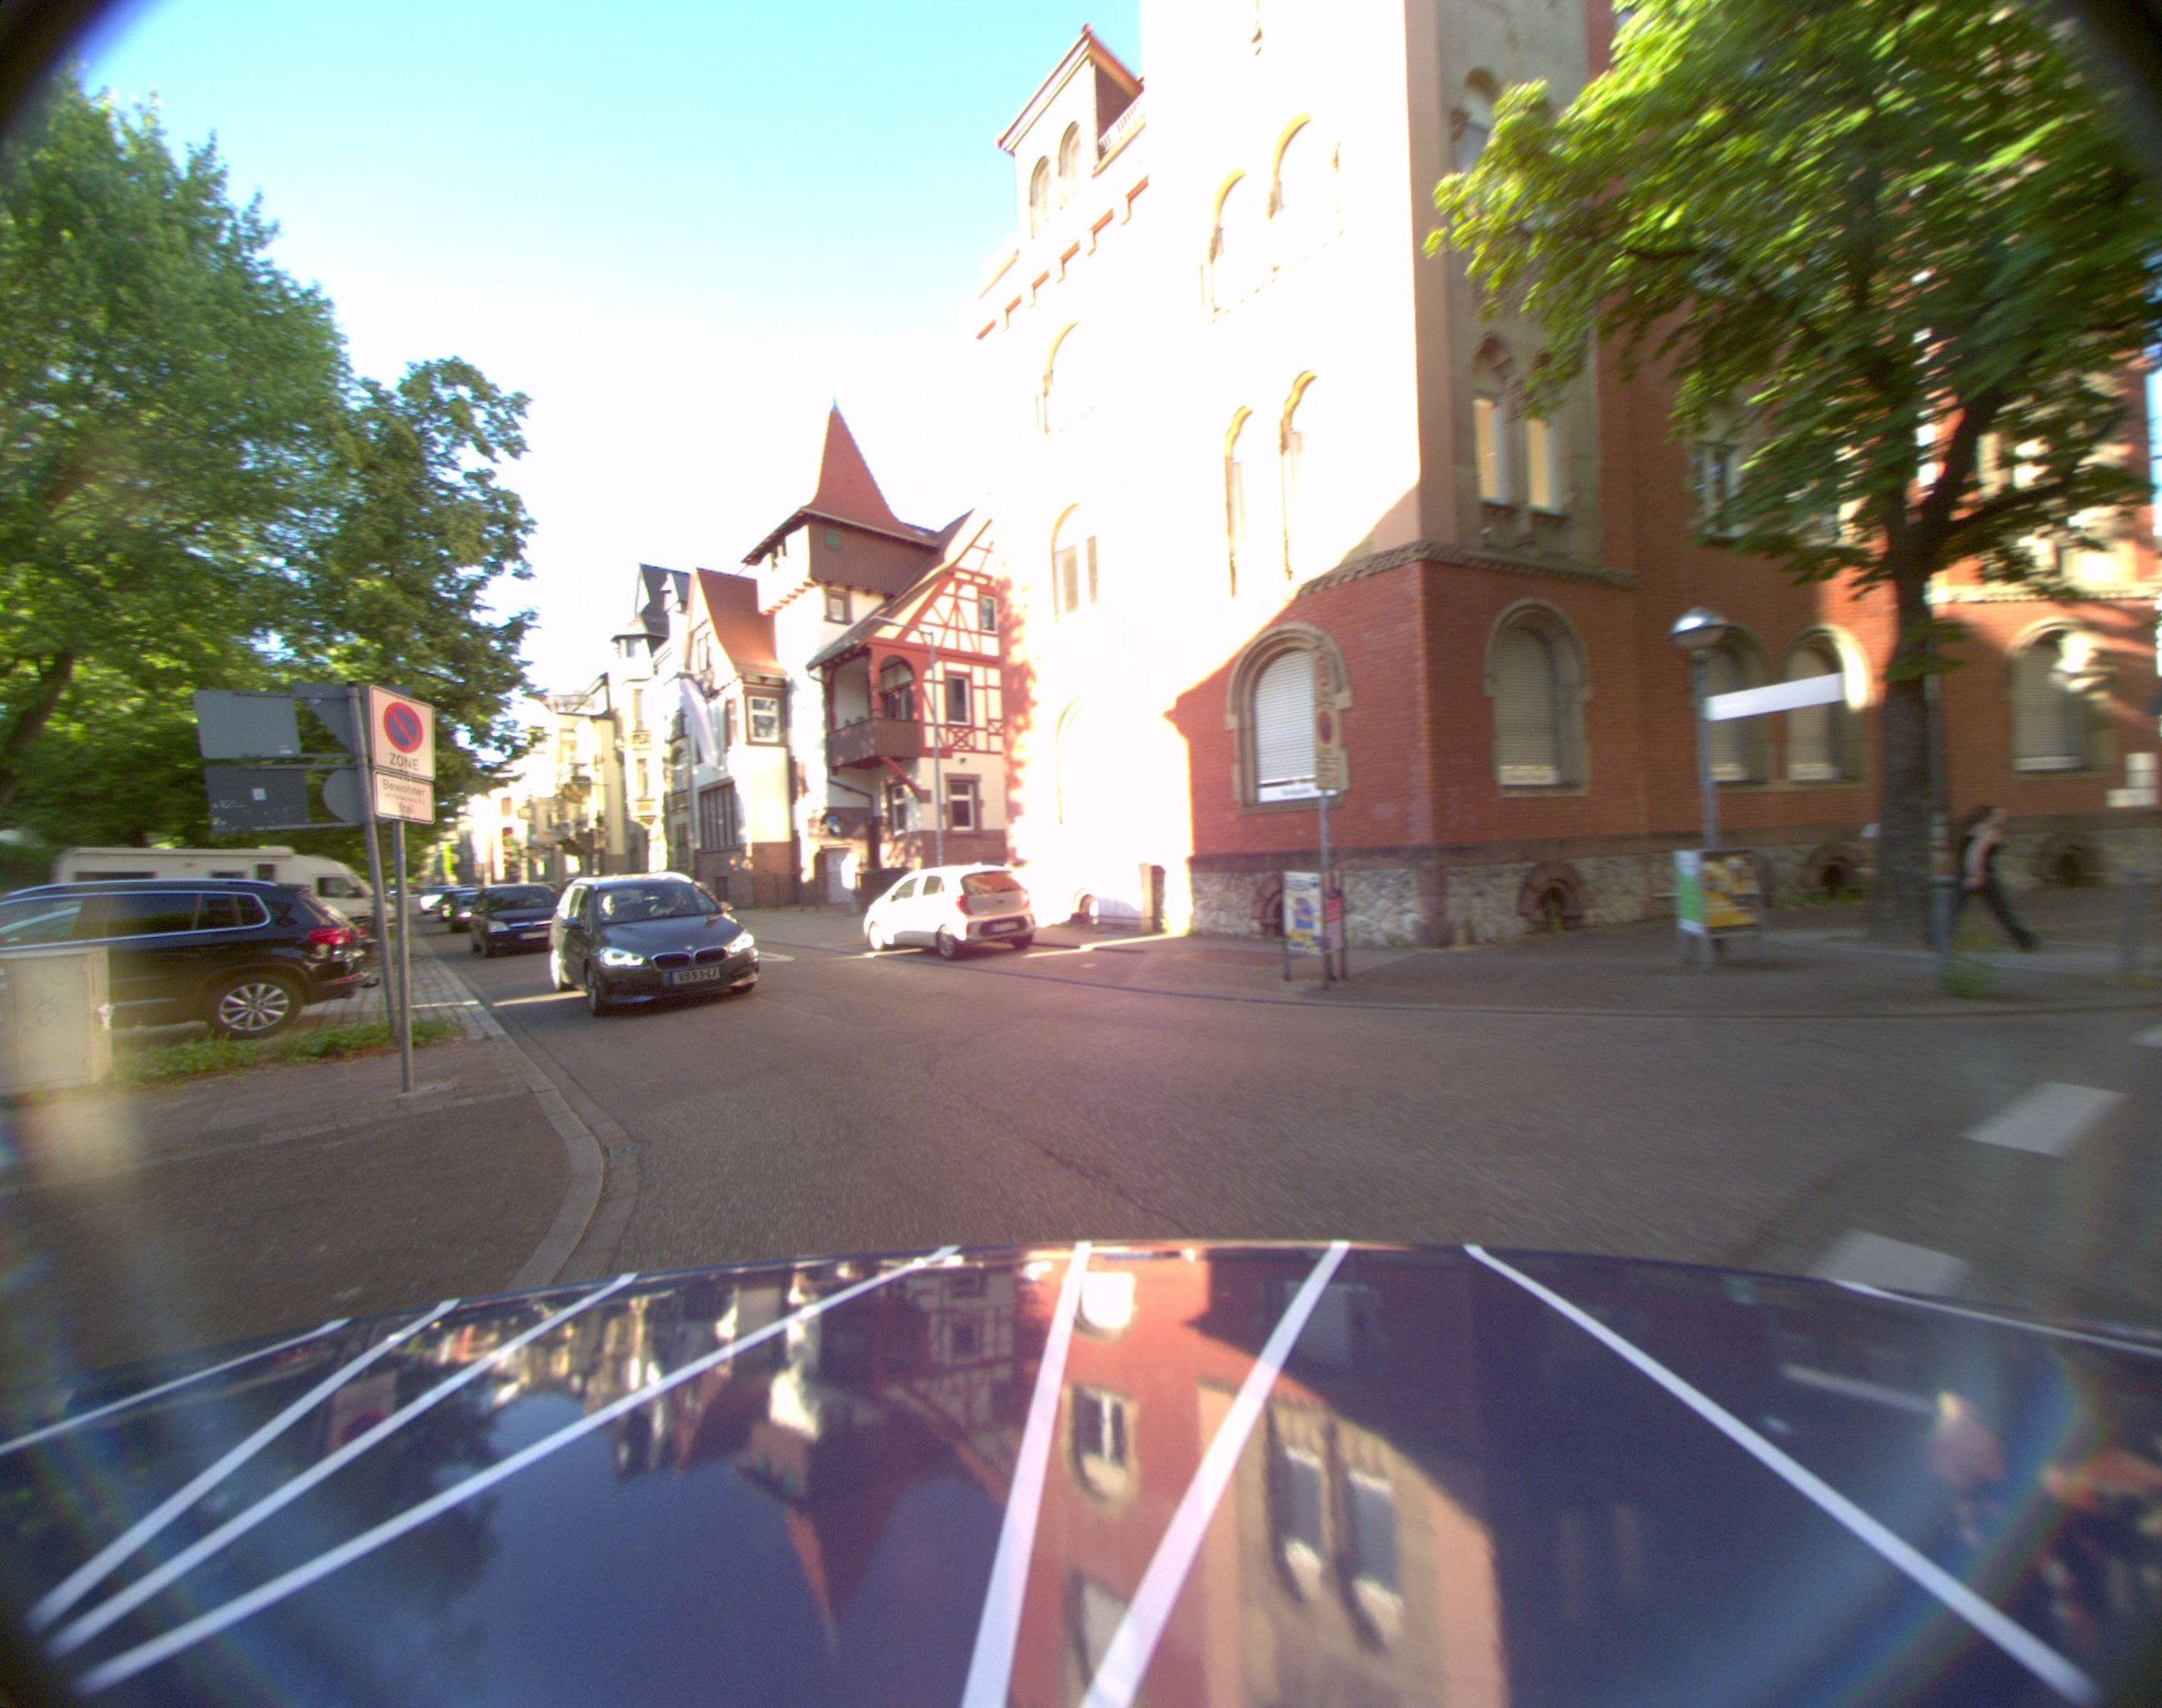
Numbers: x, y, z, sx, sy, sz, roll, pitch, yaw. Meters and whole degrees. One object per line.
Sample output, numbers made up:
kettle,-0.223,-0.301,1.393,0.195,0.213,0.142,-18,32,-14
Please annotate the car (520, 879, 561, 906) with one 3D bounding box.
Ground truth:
car,-34.962,2.481,49.164,1.691,1.501,2.853,-8,4,-42

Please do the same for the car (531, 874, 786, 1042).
car,-5.832,1.165,10.183,1.929,1.597,4.505,-5,2,-42

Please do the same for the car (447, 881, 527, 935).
car,-22.208,1.960,28.361,2.004,1.745,3.989,-3,0,-42

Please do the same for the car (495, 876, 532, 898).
car,-44.938,2.601,60.145,1.697,1.458,3.763,-9,5,-44

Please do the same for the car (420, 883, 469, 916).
car,-37.289,2.631,44.487,2.004,1.745,3.989,-3,0,-42

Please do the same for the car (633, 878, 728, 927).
car,-13.935,1.639,26.342,1.753,1.458,4.092,-4,1,-44

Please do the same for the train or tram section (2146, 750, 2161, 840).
train or tram section,42.901,-2.344,26.862,2.927,3.579,7.200,-3,0,26

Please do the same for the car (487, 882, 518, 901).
car,-49.756,3.191,65.312,1.751,1.457,3.987,-6,2,-41

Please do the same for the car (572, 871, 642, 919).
car,-21.542,1.834,34.440,1.807,1.896,4.313,-6,2,-42

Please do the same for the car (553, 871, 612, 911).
car,-26.037,1.910,39.630,1.778,1.841,4.530,-5,2,-42

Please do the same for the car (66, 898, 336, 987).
car,-18.757,1.807,16.476,3.608,1.496,1.673,-2,-1,-41

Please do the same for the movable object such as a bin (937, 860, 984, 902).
movable object such as a bin,-4.074,0.905,25.762,0.685,1.310,1.387,-2,1,41

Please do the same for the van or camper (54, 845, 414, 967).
van or camper,-25.687,1.392,23.677,7.113,3.059,2.458,-3,1,-45

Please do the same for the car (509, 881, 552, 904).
car,-40.531,2.796,55.907,1.909,1.431,4.529,-8,4,-43

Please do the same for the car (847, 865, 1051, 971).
car,-2.470,1.047,13.562,1.713,1.477,3.787,-6,3,-42

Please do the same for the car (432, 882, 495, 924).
car,-29.379,2.277,36.108,2.004,1.745,3.989,-3,0,-42

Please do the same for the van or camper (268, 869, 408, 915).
van or camper,-55.602,2.777,57.147,7.285,2.888,2.421,-3,2,-42

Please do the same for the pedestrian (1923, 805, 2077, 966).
pedestrian,9.662,0.322,8.010,0.854,1.595,0.601,-3,1,-1

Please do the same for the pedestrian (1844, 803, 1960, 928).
pedestrian,11.288,0.159,10.488,0.858,1.633,0.871,-2,1,33

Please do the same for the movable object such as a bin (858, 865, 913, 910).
movable object such as a bin,-6.185,1.040,23.994,1.382,1.291,0.966,-4,1,-33

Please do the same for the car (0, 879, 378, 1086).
car,-9.949,1.214,7.584,2.019,1.702,4.128,-3,-1,43

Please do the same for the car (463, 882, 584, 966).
car,-13.390,1.559,18.191,2.003,1.584,4.251,-6,2,-39
